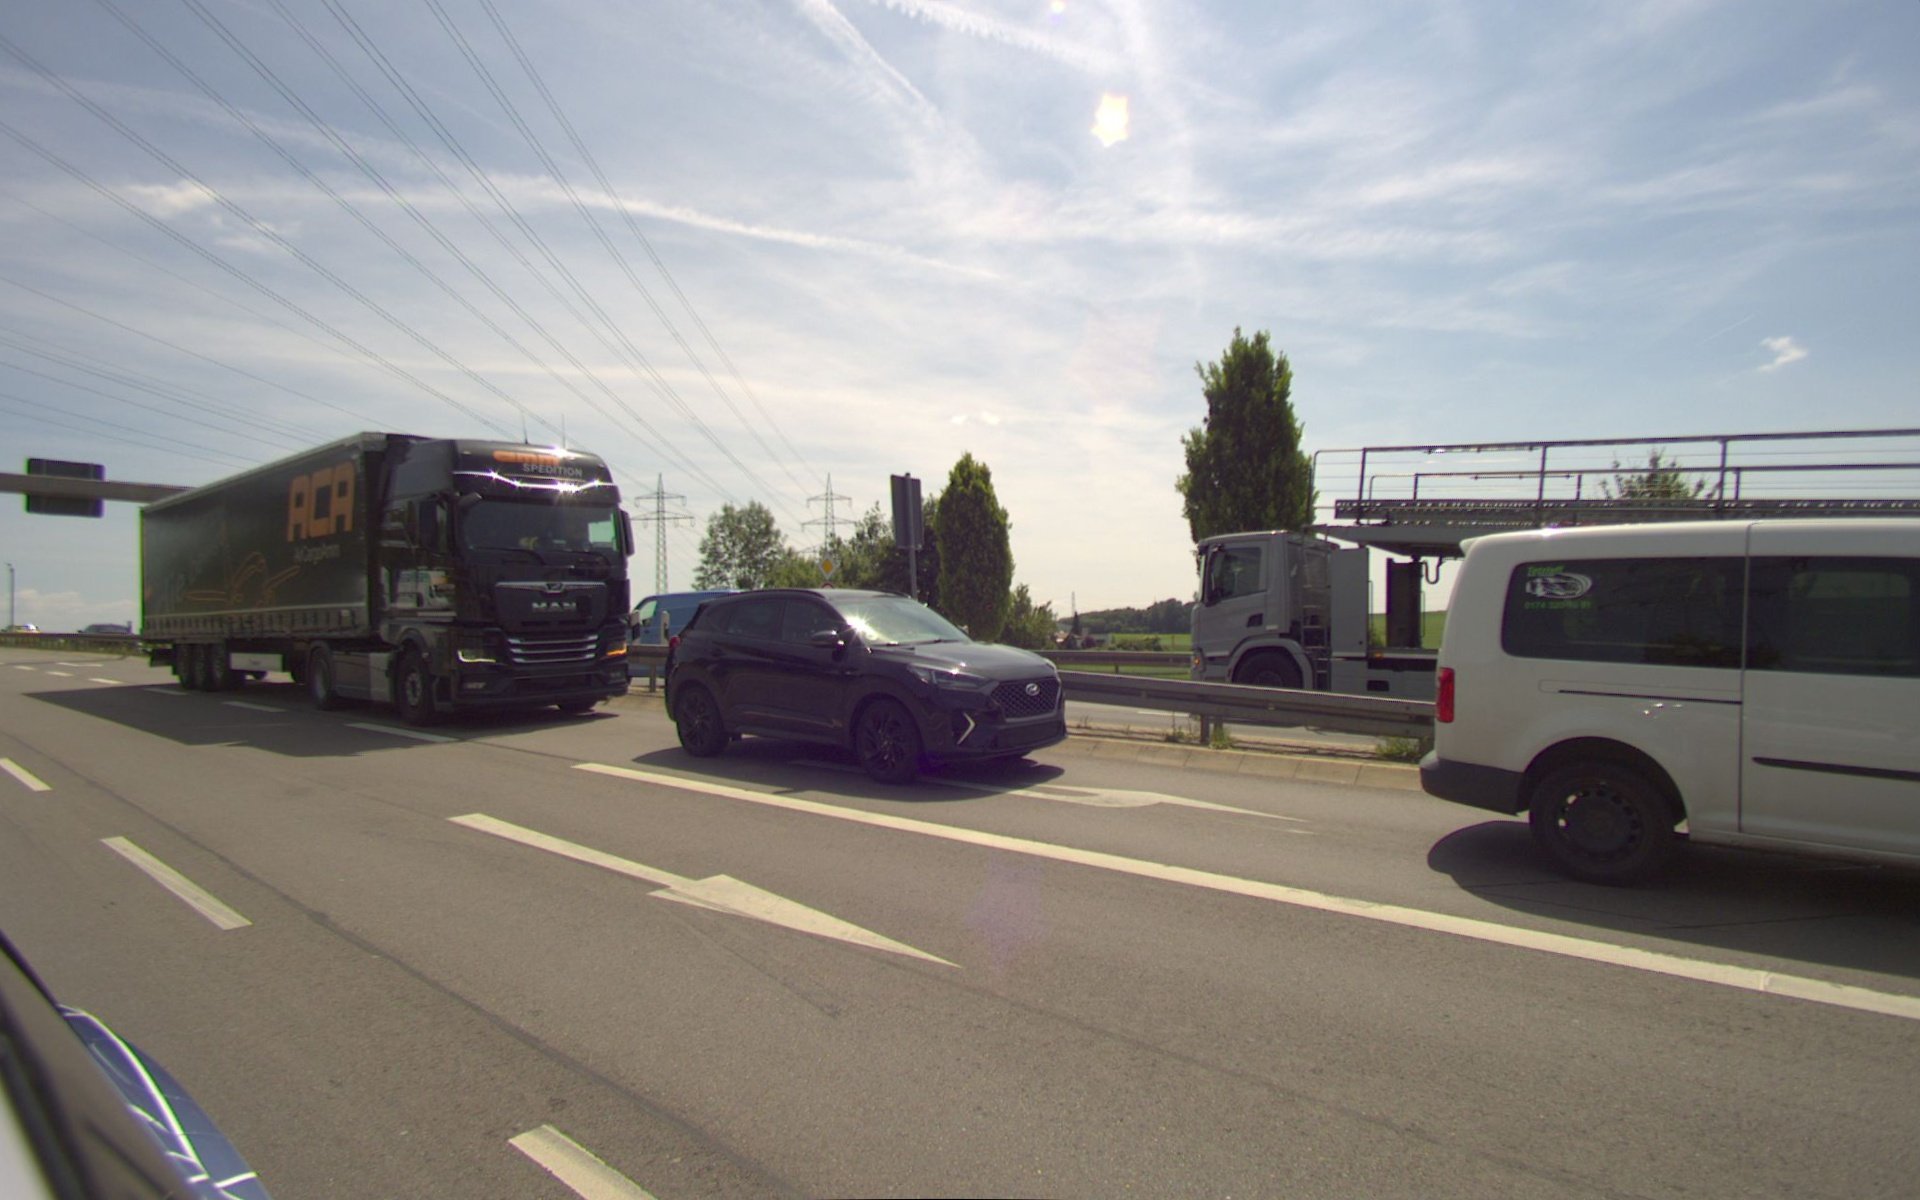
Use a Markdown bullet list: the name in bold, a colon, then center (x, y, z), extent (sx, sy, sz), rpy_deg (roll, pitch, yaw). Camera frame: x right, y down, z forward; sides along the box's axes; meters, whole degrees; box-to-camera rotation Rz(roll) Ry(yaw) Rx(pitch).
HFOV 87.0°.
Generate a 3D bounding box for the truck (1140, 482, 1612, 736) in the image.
- **truck**: center (5.999, 0.153, 15.151), extent (5.988, 3.036, 2.770), rpy_deg (-1, -1, 42)

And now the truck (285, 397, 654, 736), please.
- **truck**: center (-7.465, -0.361, 15.067), extent (5.966, 4.044, 2.755), rpy_deg (-1, 0, 40)

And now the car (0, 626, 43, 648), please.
- **car**: center (-67.032, 2.638, 72.114), extent (3.692, 1.492, 1.502), rpy_deg (-1, -3, 33)

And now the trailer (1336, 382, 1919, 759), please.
- **trailer**: center (13.476, -0.319, 8.499), extent (19.793, 3.792, 2.611), rpy_deg (-1, -1, 42)

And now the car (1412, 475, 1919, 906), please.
- **car**: center (4.863, 0.366, 4.679), extent (4.749, 1.812, 1.749), rpy_deg (-1, -1, 41)

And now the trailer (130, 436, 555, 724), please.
- **trailer**: center (-12.540, -0.180, 19.387), extent (13.776, 3.943, 2.755), rpy_deg (-1, 0, 40)

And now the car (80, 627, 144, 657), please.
- **car**: center (-44.995, 2.223, 53.673), extent (4.319, 1.516, 1.719), rpy_deg (-1, -3, 39)

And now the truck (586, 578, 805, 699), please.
- **truck**: center (-5.405, 0.720, 20.398), extent (4.619, 2.173, 1.947), rpy_deg (-1, -1, 40)

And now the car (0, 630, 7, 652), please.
- **car**: center (-66.000, 2.728, 68.010), extent (4.308, 1.454, 1.723), rpy_deg (-1, -3, 31)

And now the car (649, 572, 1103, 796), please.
- **car**: center (-0.973, 0.658, 9.699), extent (4.346, 1.670, 1.836), rpy_deg (-1, -1, 42)
